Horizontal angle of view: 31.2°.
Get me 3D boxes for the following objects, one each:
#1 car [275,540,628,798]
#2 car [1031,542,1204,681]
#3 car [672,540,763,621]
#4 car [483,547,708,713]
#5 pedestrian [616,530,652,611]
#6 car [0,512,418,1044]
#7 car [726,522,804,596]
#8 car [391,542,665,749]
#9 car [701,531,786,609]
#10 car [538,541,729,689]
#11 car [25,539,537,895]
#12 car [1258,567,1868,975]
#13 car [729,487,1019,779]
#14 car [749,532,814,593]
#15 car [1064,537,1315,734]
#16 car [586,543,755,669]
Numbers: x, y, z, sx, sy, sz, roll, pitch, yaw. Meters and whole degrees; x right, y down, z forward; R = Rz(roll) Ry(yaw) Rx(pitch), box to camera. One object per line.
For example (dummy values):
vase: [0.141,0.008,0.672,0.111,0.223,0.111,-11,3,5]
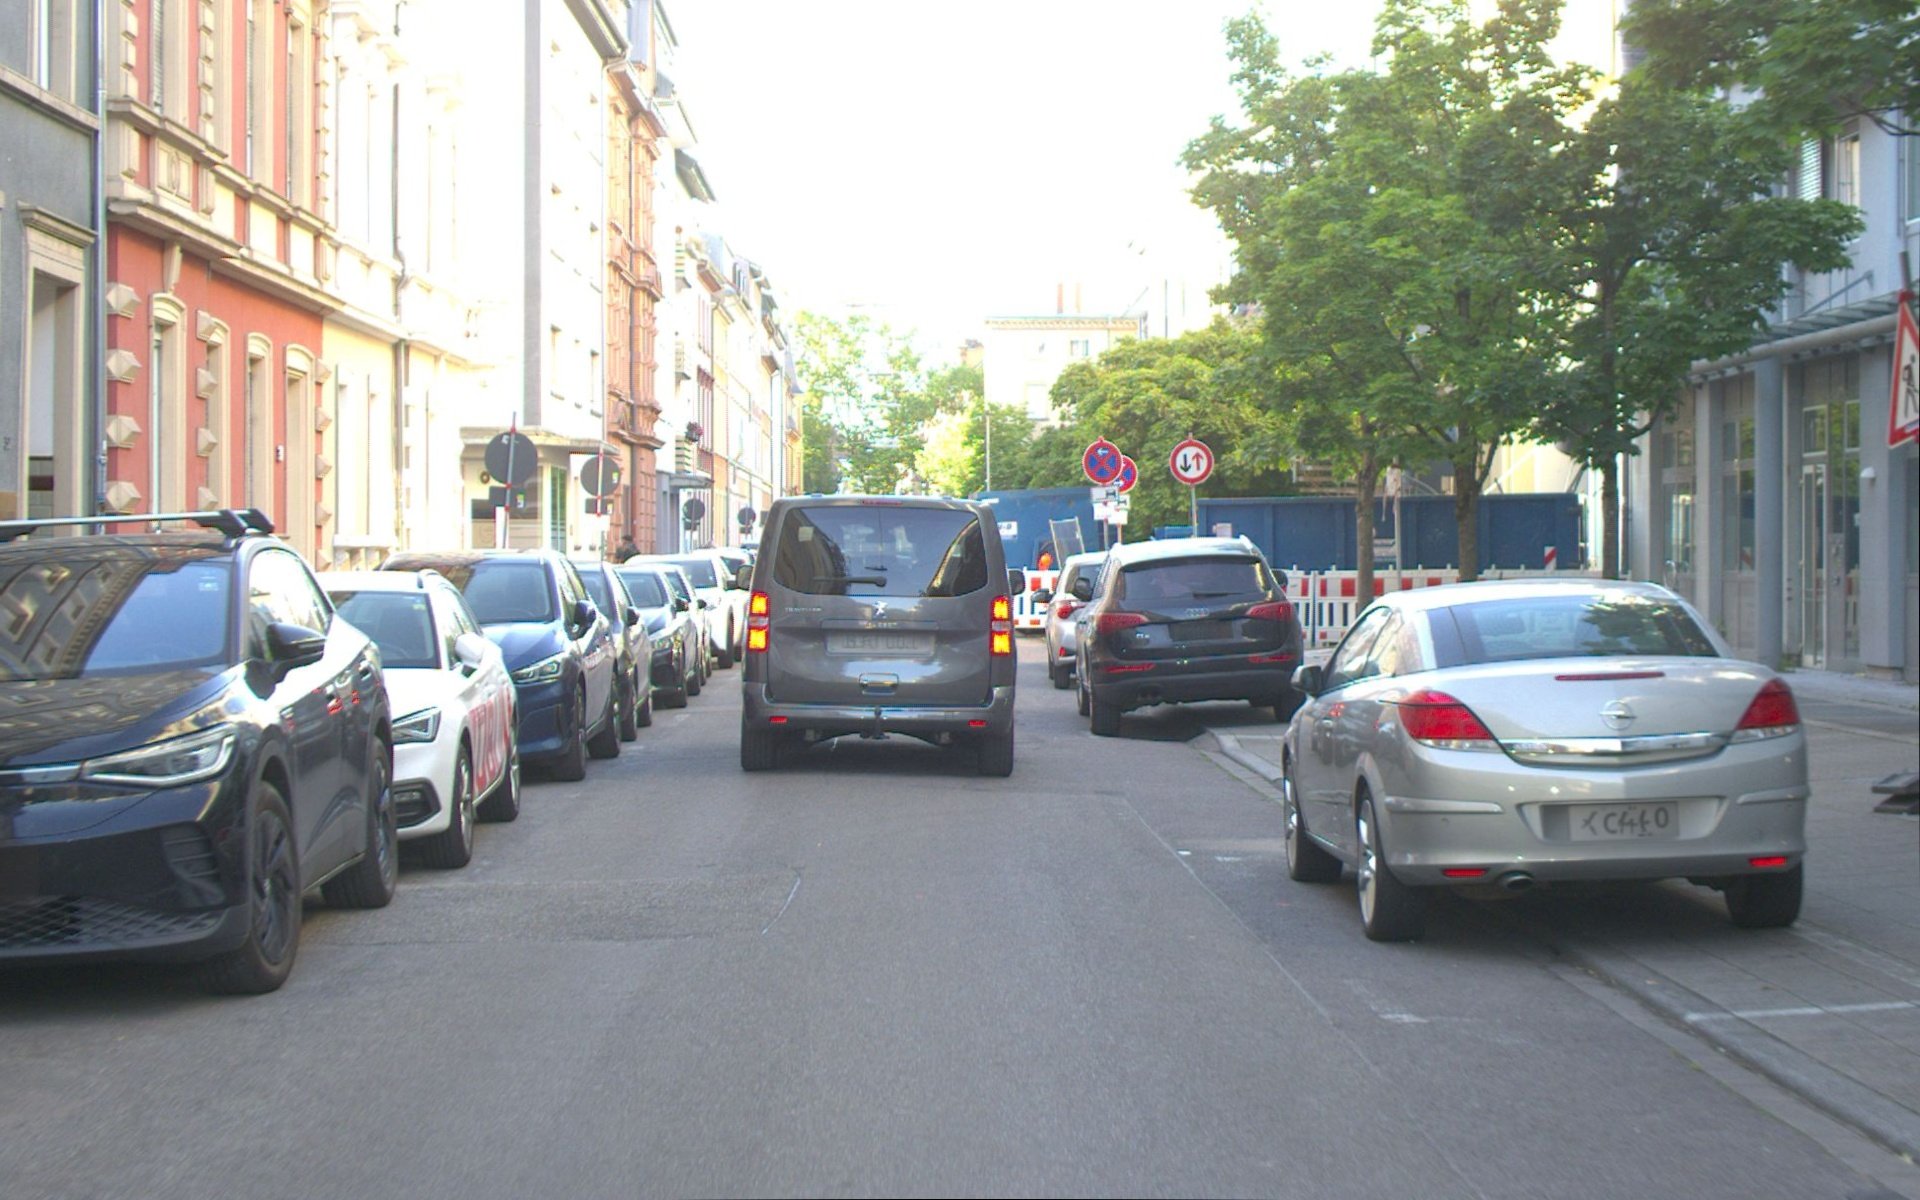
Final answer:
car: [-3.460,0.404,24.149,1.920,1.554,4.267,-2,1,-2]
car: [1.804,0.098,40.418,1.676,1.520,3.971,-2,1,-2]
car: [-4.870,-0.388,68.872,1.656,1.455,3.418,5,0,-4]
car: [-3.632,0.255,34.967,1.920,1.479,4.267,-2,1,-2]
pedestrian: [-6.717,-0.605,70.800,0.740,1.659,0.704,0,1,-5]
car: [-3.334,0.531,13.075,1.920,1.658,4.469,-2,1,-2]
car: [-5.374,-1.114,94.303,1.891,1.840,4.349,5,0,-4]
car: [-3.621,0.328,29.494,1.901,1.554,4.241,-2,1,-2]
car: [-5.372,-0.737,84.935,1.891,1.714,3.754,5,0,-4]
car: [-3.777,0.126,40.387,1.920,1.554,4.267,-2,1,-2]
car: [-3.401,0.502,18.046,1.920,1.554,4.267,-2,1,-2]
car: [2.400,0.607,14.779,1.763,1.424,4.345,-1,1,-1]
car: [-0.586,0.203,24.552,1.865,1.880,4.235,1,0,-1]
car: [-5.959,-1.240,114.482,1.891,1.840,4.349,5,0,-4]
car: [2.006,0.267,31.265,1.885,1.617,4.434,-1,1,-1]
car: [-3.802,0.036,45.789,1.920,1.502,4.267,-2,1,-1]
